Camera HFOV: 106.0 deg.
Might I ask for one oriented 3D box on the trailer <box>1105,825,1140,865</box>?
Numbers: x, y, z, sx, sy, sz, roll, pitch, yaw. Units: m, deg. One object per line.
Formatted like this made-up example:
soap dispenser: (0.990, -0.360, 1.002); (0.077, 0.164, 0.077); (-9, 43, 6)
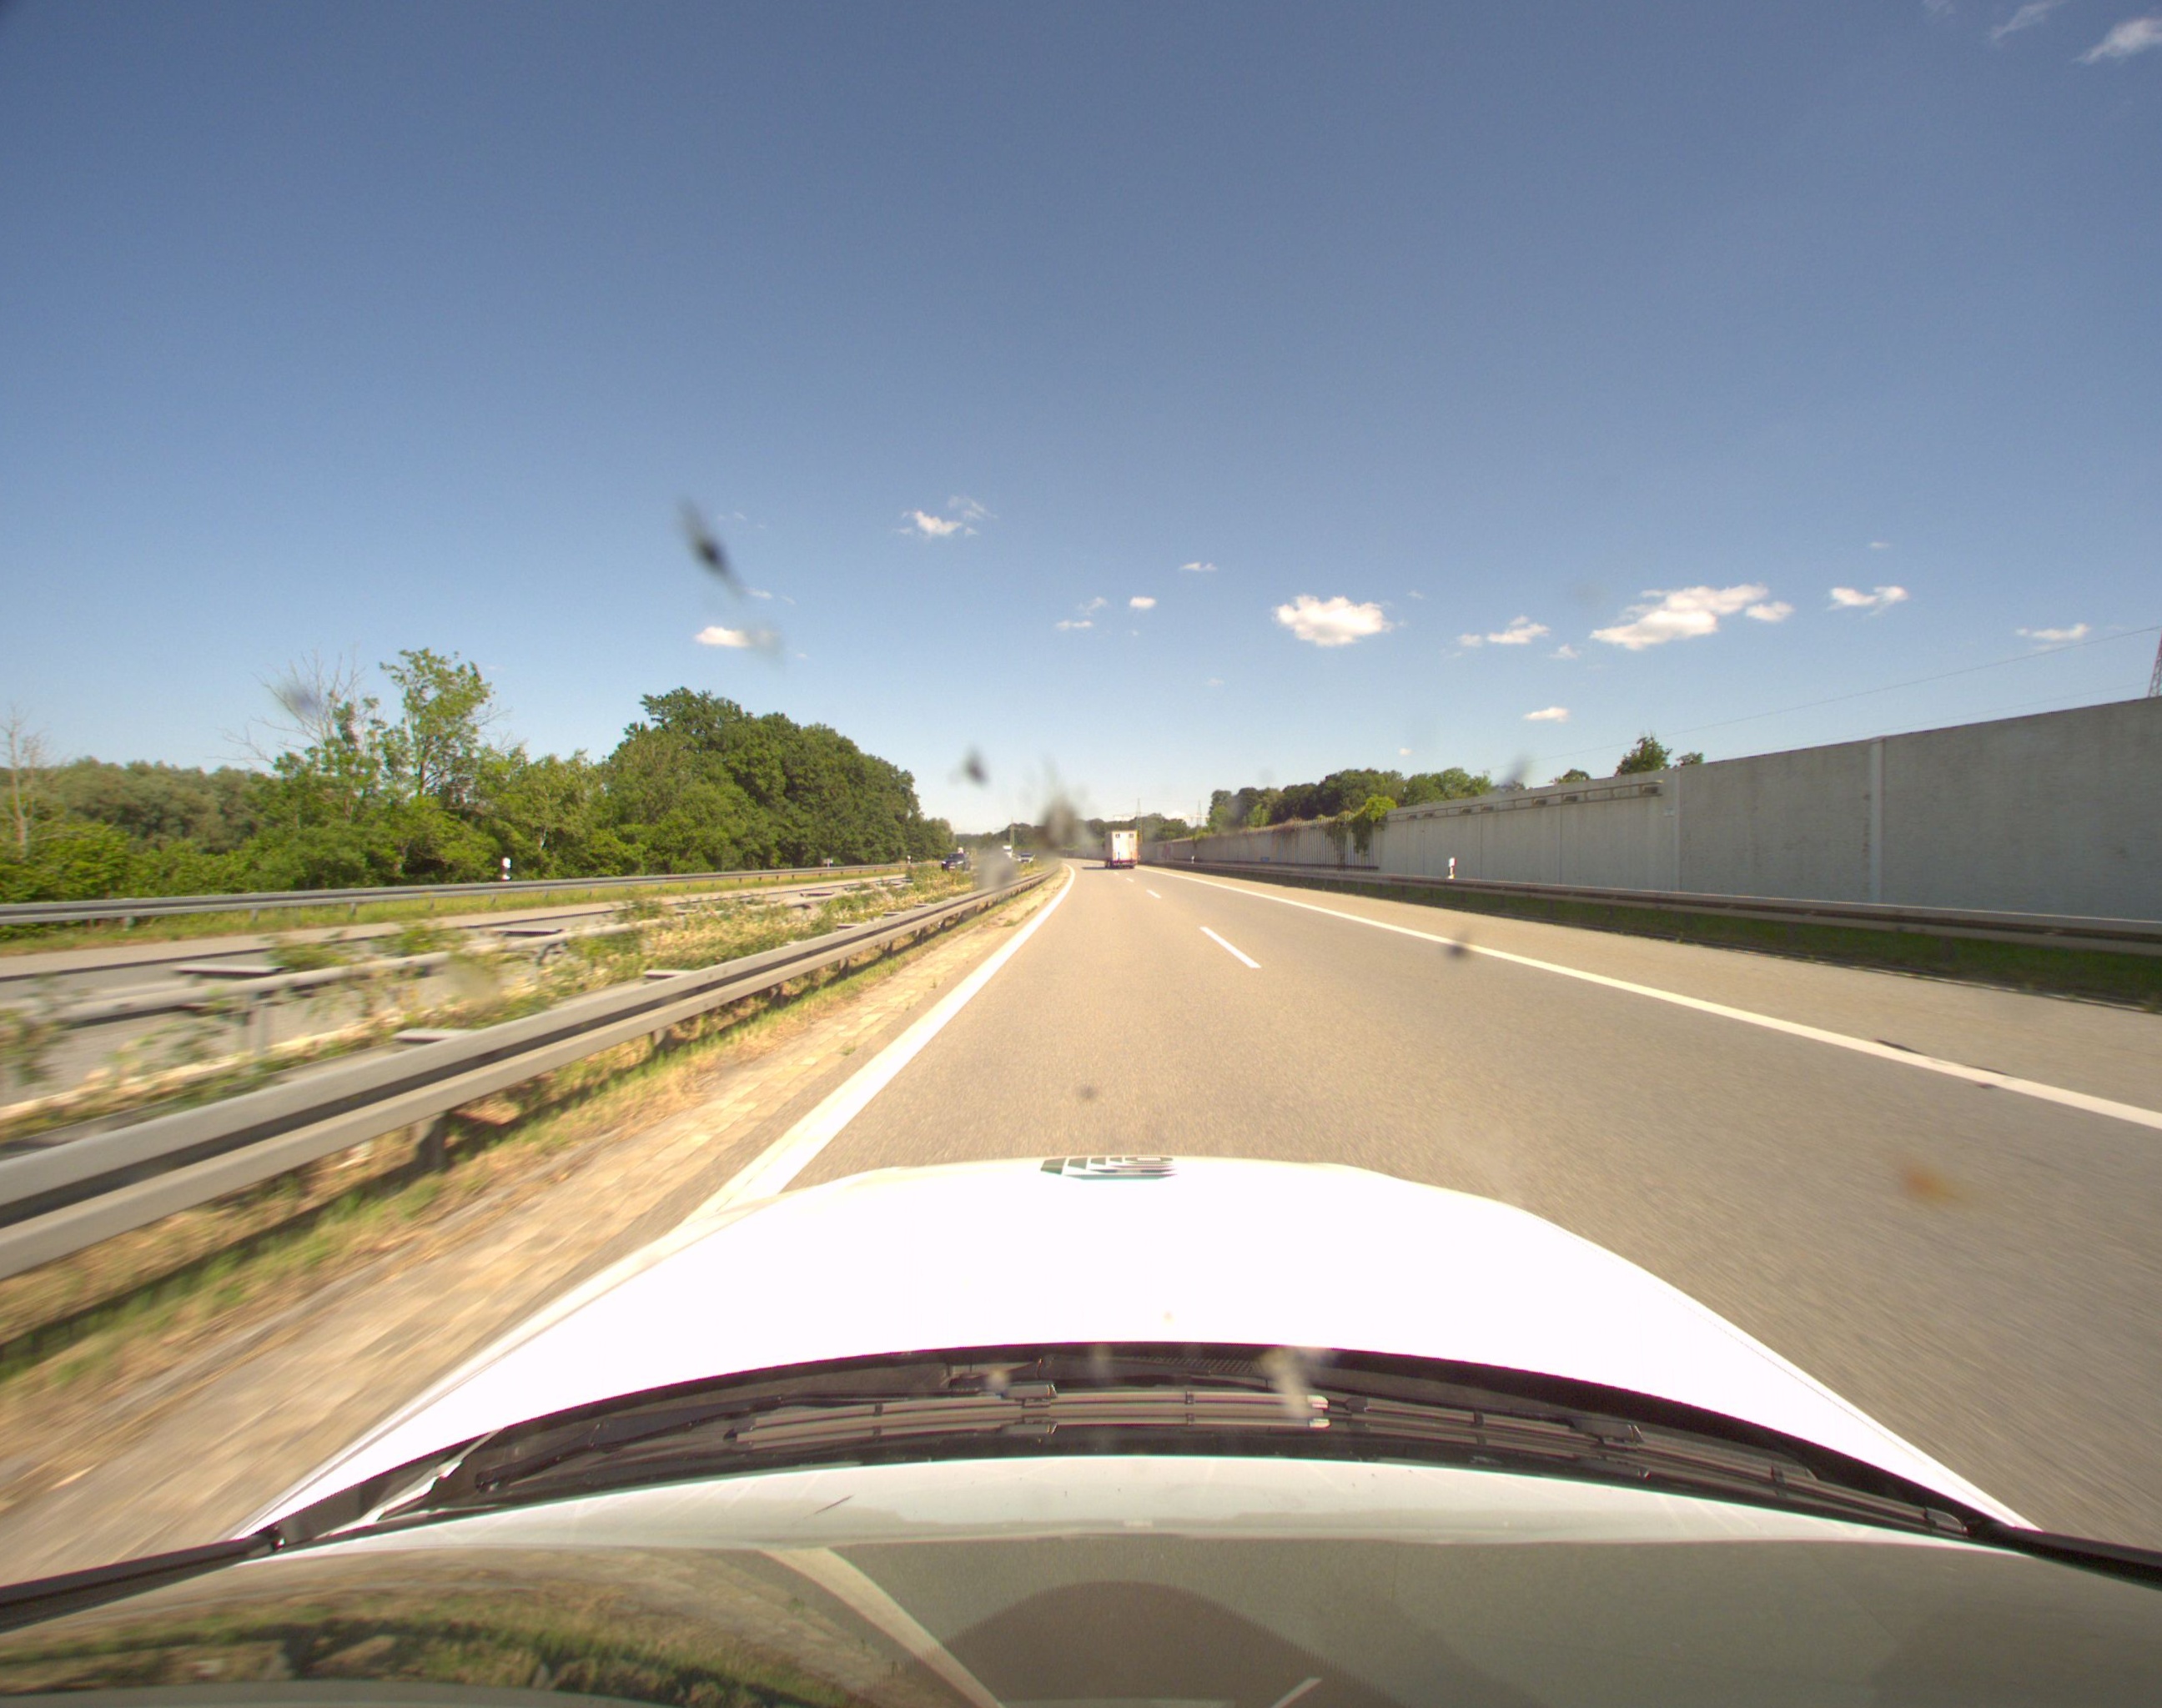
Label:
trailer: (4.415, -0.891, 89.572); (2.877, 4.066, 12.410); (-1, 0, -2)

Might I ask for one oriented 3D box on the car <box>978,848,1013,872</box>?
car: (-5.618, 0.370, 53.941); (1.847, 1.482, 4.000); (-1, 0, 1)

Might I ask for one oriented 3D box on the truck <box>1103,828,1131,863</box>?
truck: (4.180, -0.945, 95.382); (2.823, 4.012, 6.582); (-1, 0, -2)

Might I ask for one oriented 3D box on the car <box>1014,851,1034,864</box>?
car: (-6.992, 0.426, 100.254); (1.924, 1.505, 4.794); (-1, 0, 1)

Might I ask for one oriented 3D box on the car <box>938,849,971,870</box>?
car: (-10.275, 0.417, 66.325); (1.847, 1.634, 4.494); (-1, 0, 1)
